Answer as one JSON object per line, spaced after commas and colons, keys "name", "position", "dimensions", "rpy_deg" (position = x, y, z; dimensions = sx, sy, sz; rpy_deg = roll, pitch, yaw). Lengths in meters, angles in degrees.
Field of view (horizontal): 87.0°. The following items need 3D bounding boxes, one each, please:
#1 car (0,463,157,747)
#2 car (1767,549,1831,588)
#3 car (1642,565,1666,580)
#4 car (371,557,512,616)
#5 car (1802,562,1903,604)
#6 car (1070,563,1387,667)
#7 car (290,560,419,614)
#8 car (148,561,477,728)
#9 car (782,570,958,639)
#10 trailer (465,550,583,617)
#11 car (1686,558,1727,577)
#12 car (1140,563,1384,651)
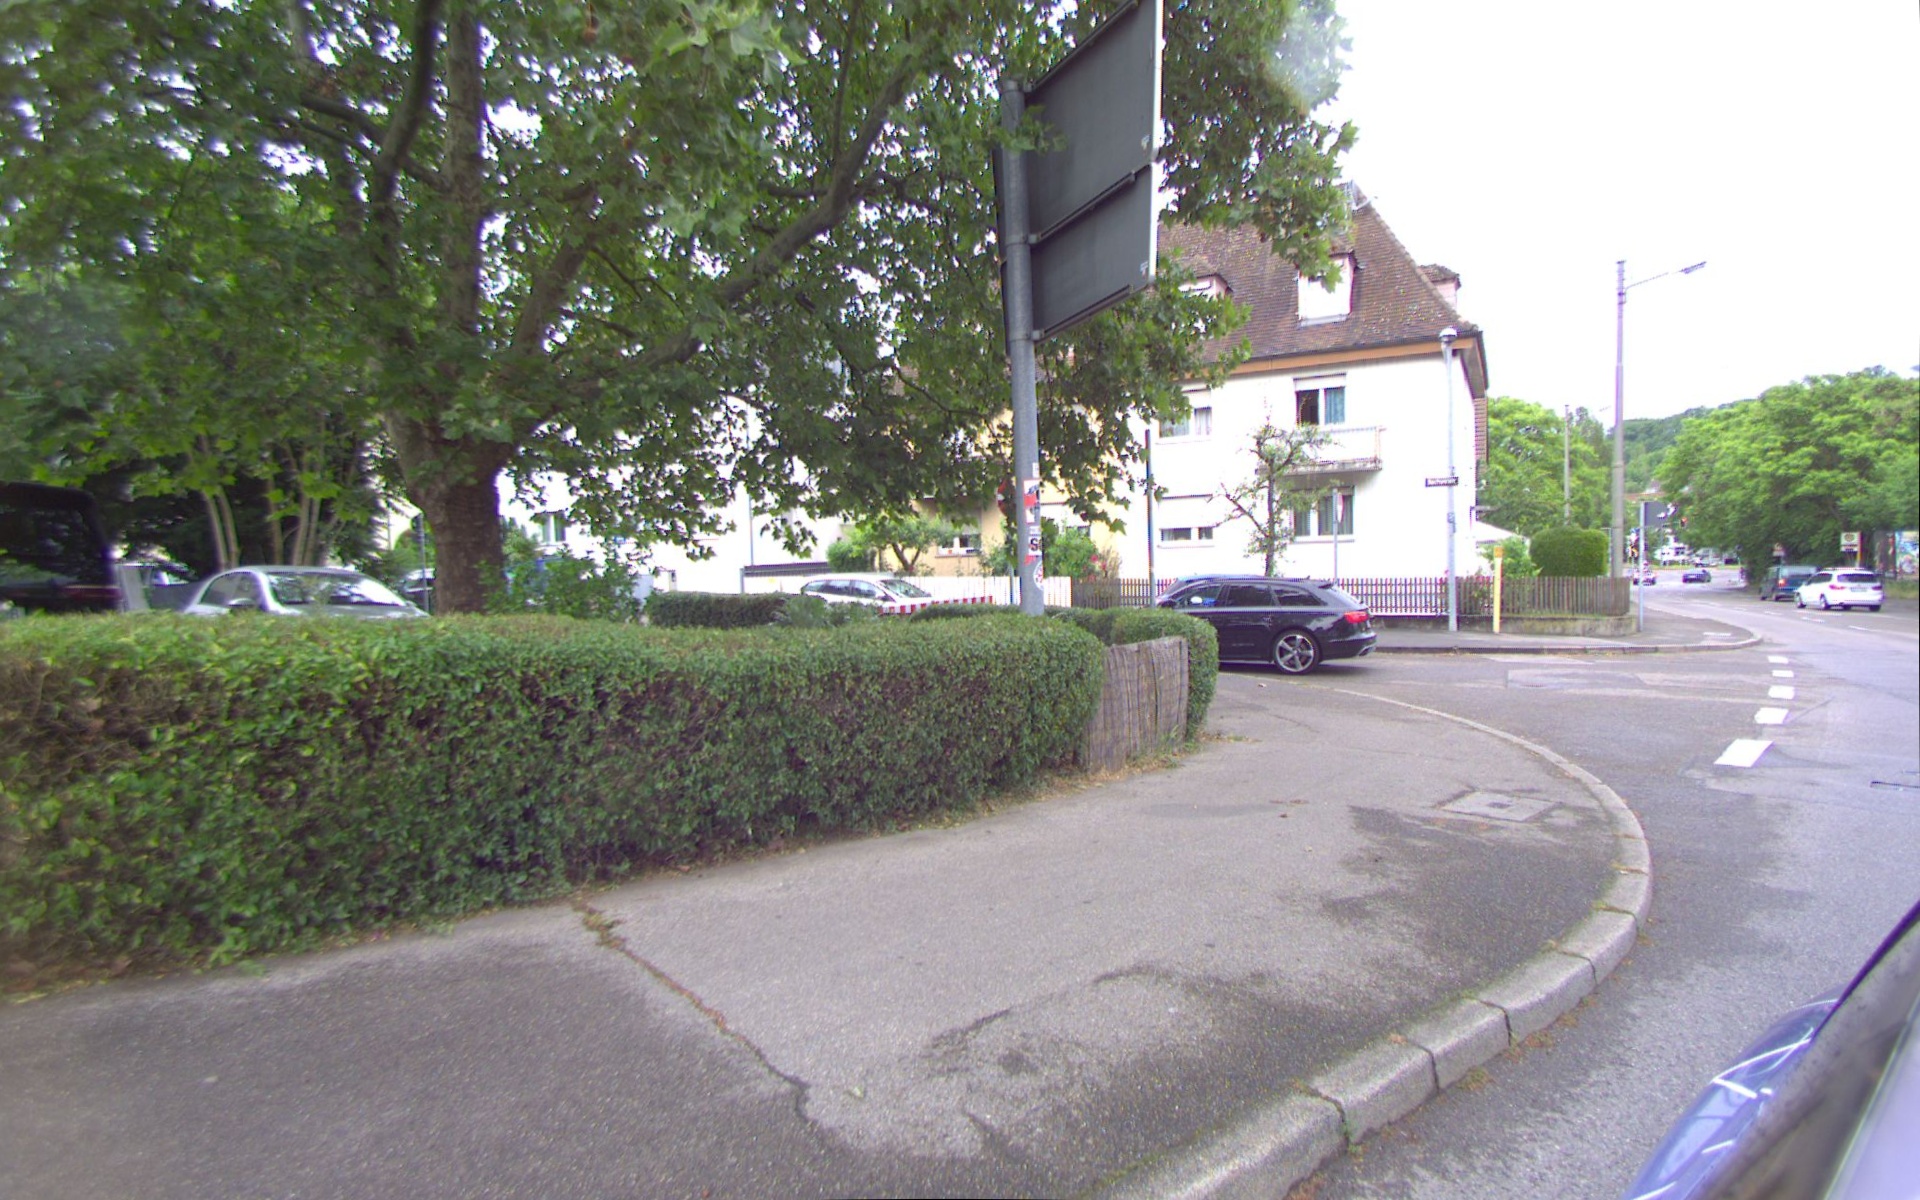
{"name": "car", "position": [-8.555, 0.007, 7.974], "dimensions": [4.376, 1.956, 1.980], "rpy_deg": [1, 2, 29]}
{"name": "car", "position": [43.906, -1.670, 53.078], "dimensions": [1.949, 1.955, 4.631], "rpy_deg": [1, 2, 32]}
{"name": "car", "position": [69.610, -2.785, 101.539], "dimensions": [1.888, 1.479, 3.952], "rpy_deg": [1, 2, 34]}
{"name": "car", "position": [-17.521, -0.486, 34.172], "dimensions": [4.535, 1.862, 1.982], "rpy_deg": [1, 2, 28]}
{"name": "car", "position": [36.035, -0.706, 40.977], "dimensions": [1.817, 1.598, 4.299], "rpy_deg": [0, 1, 24]}
{"name": "car", "position": [4.355, 0.154, 16.536], "dimensions": [4.768, 1.498, 1.870], "rpy_deg": [1, 2, 25]}
{"name": "car", "position": [-22.089, -0.498, 36.888], "dimensions": [4.535, 1.862, 1.982], "rpy_deg": [1, 2, 28]}
{"name": "car", "position": [-7.463, 0.369, 11.570], "dimensions": [3.974, 1.599, 1.800], "rpy_deg": [1, 2, 35]}
{"name": "car", "position": [-2.097, 0.064, 23.391], "dimensions": [3.752, 1.471, 1.754], "rpy_deg": [1, 1, 30]}
{"name": "trailer", "position": [-13.939, -0.545, 32.364], "dimensions": [3.456, 2.038, 1.657], "rpy_deg": [1, 1, 26]}
{"name": "car", "position": [78.931, -3.439, 106.991], "dimensions": [4.688, 1.460, 2.000], "rpy_deg": [-7, 2, -35]}
{"name": "car", "position": [5.671, 0.059, 19.140], "dimensions": [4.095, 1.498, 1.865], "rpy_deg": [1, 2, 32]}
